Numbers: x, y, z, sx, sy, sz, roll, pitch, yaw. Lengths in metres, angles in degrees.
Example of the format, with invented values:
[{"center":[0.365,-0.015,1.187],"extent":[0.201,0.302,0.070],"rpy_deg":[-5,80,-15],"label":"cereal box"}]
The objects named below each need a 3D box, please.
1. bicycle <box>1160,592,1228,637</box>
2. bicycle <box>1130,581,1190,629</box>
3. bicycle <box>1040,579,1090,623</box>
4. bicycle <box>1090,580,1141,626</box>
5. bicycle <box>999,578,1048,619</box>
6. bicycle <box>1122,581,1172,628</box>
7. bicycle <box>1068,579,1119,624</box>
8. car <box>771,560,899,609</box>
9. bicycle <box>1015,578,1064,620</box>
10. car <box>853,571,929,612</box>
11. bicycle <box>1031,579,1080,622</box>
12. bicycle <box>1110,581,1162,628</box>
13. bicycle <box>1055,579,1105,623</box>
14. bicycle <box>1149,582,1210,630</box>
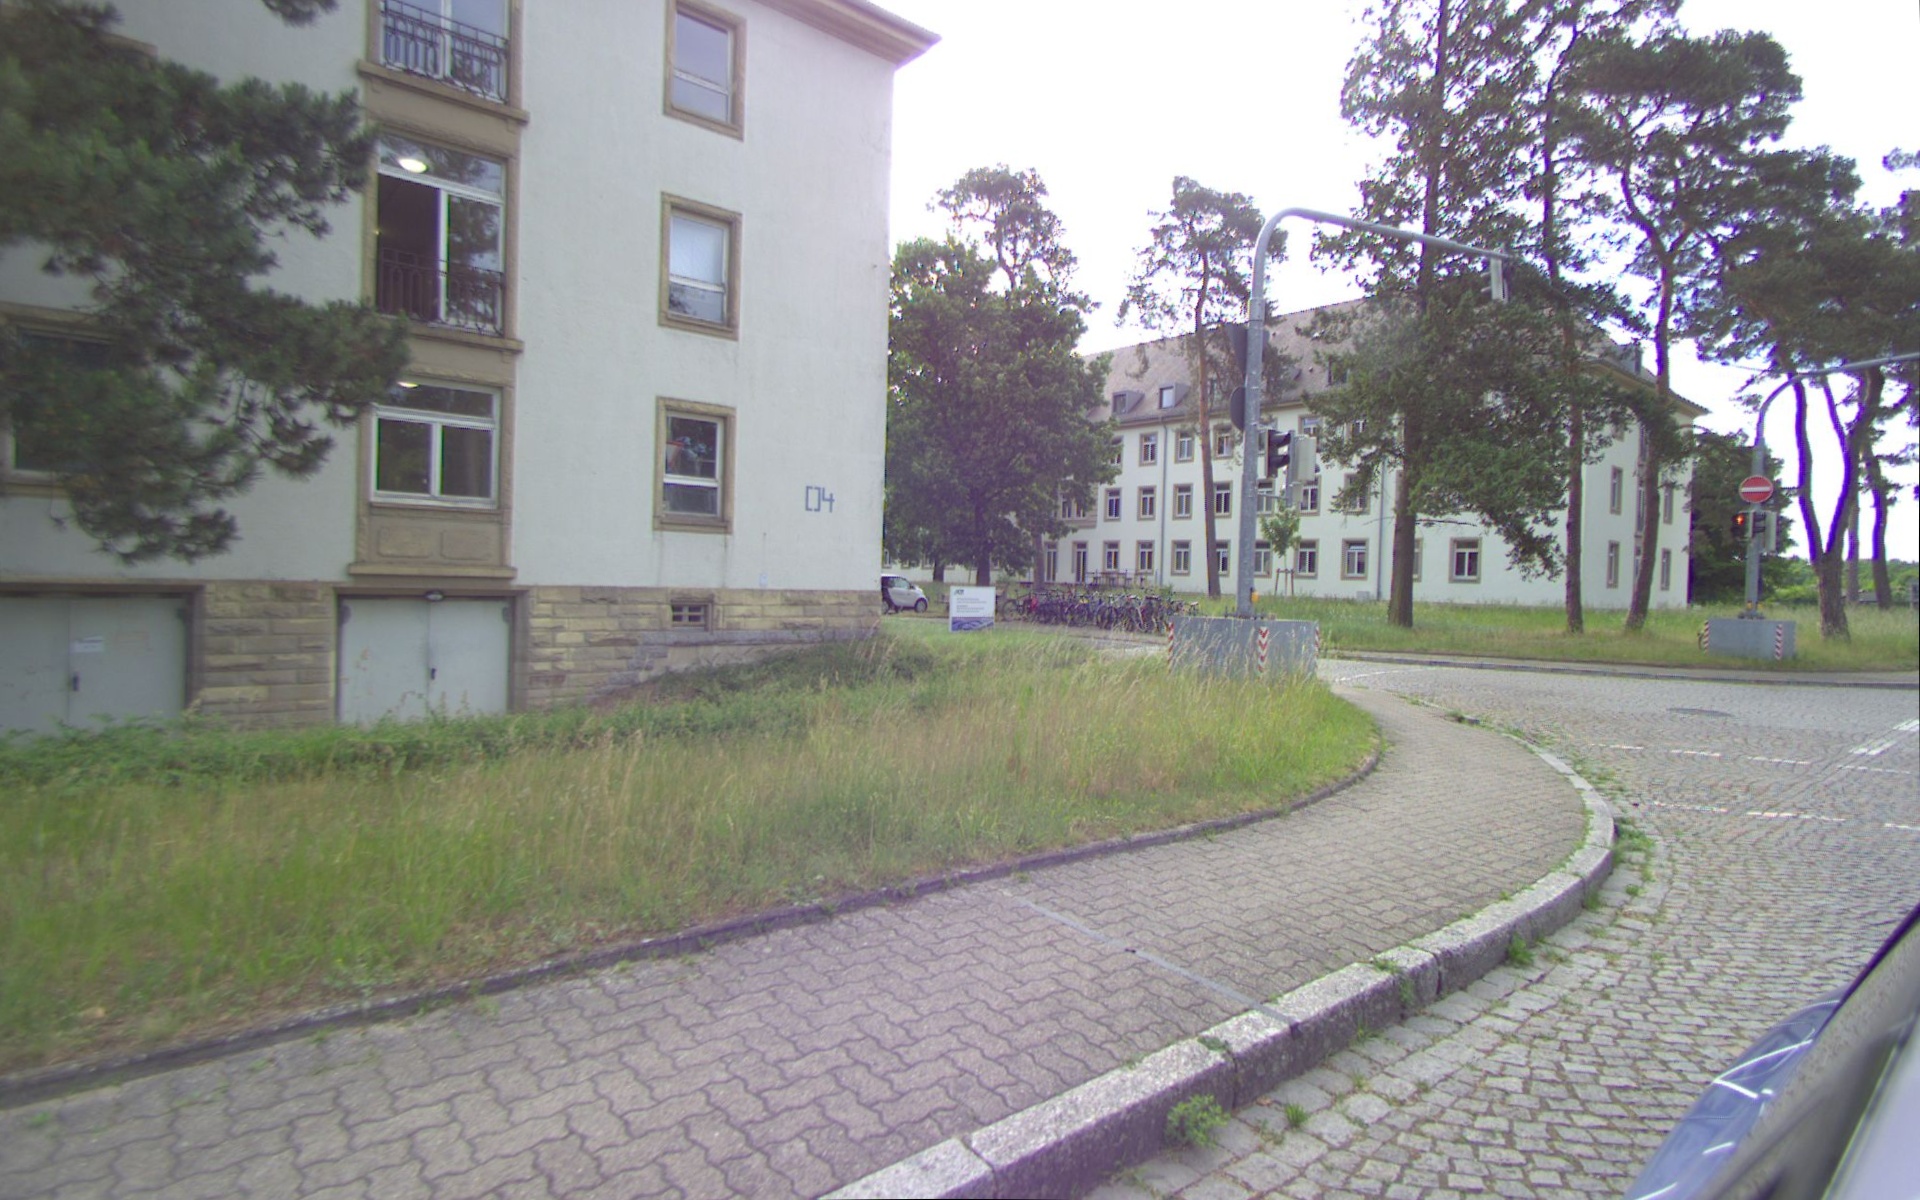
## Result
[{"center":[6.202,0.371,26.955],"extent":[0.562,1.098,1.838],"rpy_deg":[-1,3,-36],"label":"bicycle"},{"center":[5.886,0.151,29.741],"extent":[1.802,1.348,0.573],"rpy_deg":[1,1,-33],"label":"bicycle"},{"center":[3.392,0.031,32.653],"extent":[0.571,1.348,1.808],"rpy_deg":[2,1,44],"label":"bicycle"},{"center":[4.777,0.097,31.022],"extent":[0.571,1.348,1.808],"rpy_deg":[2,1,44],"label":"bicycle"},{"center":[2.160,-0.056,34.117],"extent":[0.571,1.348,1.808],"rpy_deg":[2,1,44],"label":"bicycle"},{"center":[5.578,0.145,30.132],"extent":[0.481,1.348,1.808],"rpy_deg":[2,1,44],"label":"bicycle"},{"center":[4.194,0.046,31.645],"extent":[0.571,1.348,1.808],"rpy_deg":[2,1,44],"label":"bicycle"},{"center":[-5.186,-0.634,42.485],"extent":[5.027,1.908,1.998],"rpy_deg":[0,2,-40],"label":"car"},{"center":[2.665,-0.038,33.615],"extent":[0.571,1.348,1.808],"rpy_deg":[2,1,44],"label":"bicycle"},{"center":[-2.764,-0.339,40.599],"extent":[2.645,1.527,1.475],"rpy_deg":[0,2,-40],"label":"car"},{"center":[3.154,0.024,33.252],"extent":[0.571,1.348,1.808],"rpy_deg":[2,1,44],"label":"bicycle"},{"center":[5.311,0.140,30.473],"extent":[0.571,1.348,1.808],"rpy_deg":[2,1,44],"label":"bicycle"},{"center":[3.813,0.039,32.063],"extent":[0.571,1.348,1.808],"rpy_deg":[2,1,44],"label":"bicycle"},{"center":[6.370,0.187,29.332],"extent":[1.802,1.348,0.573],"rpy_deg":[1,1,-33],"label":"bicycle"}]
